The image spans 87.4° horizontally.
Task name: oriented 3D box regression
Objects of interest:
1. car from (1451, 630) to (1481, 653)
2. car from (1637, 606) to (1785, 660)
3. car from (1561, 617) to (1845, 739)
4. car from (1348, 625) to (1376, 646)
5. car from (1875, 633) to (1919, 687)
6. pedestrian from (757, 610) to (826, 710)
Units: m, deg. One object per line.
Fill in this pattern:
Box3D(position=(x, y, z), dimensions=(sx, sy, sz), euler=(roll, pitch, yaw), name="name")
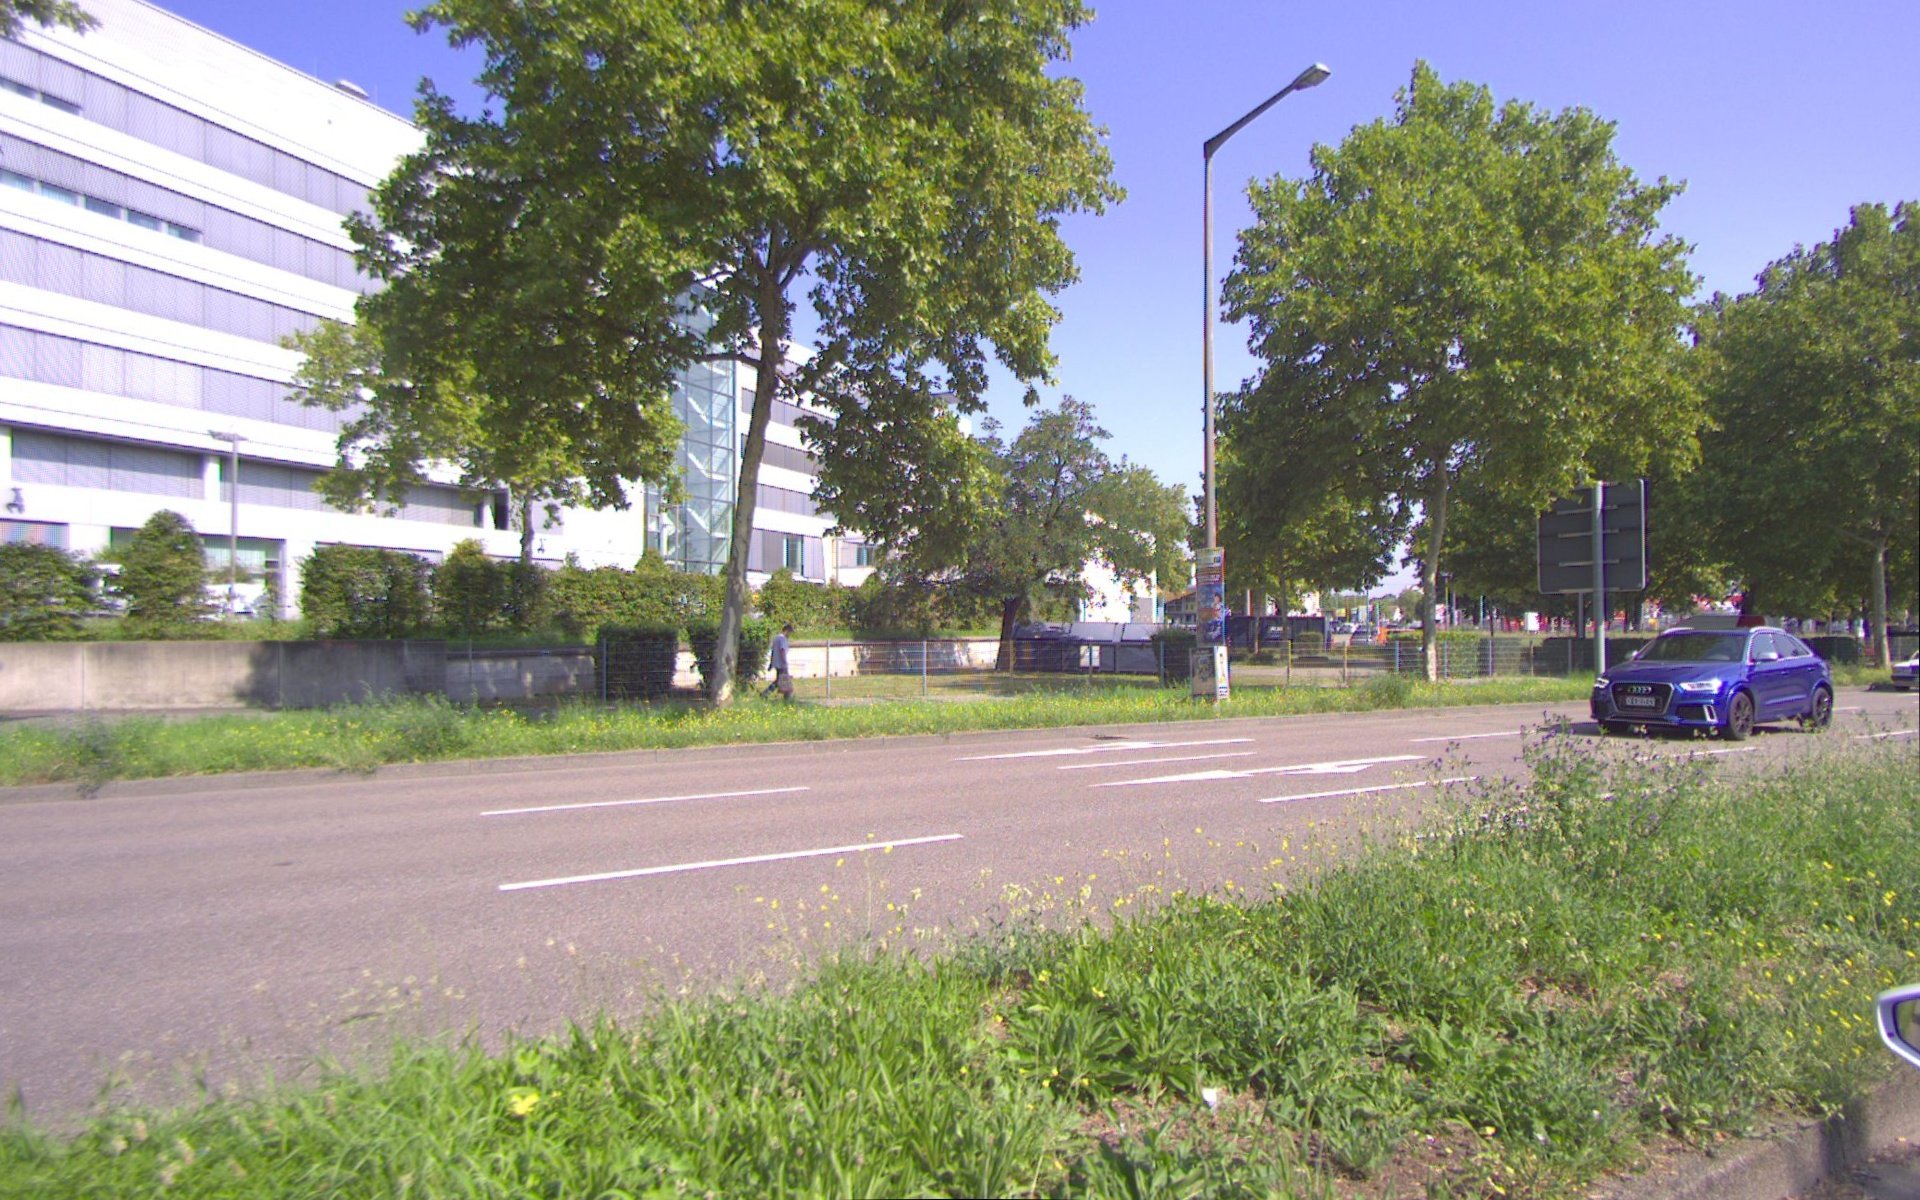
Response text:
Box3D(position=(38.820, 3.156, 77.110), dimensions=(1.896, 1.472, 3.996), euler=(-1, 1, 25), name="car")
Box3D(position=(37.503, 1.575, 50.355), dimensions=(2.252, 2.369, 5.557), euler=(-2, 1, -30), name="car")
Box3D(position=(11.321, 1.119, 15.260), dimensions=(4.297, 1.605, 1.984), euler=(1, -3, -32), name="car")
Box3D(position=(32.574, 2.843, 81.360), dimensions=(1.896, 1.472, 3.996), euler=(-1, 1, 25), name="car")
Box3D(position=(27.271, 1.639, 27.745), dimensions=(4.360, 1.435, 1.786), euler=(1, -3, -32), name="car")
Box3D(position=(-3.619, 1.261, 21.691), dimensions=(0.995, 2.041, 1.268), euler=(-1, 1, 13), name="pedestrian")
